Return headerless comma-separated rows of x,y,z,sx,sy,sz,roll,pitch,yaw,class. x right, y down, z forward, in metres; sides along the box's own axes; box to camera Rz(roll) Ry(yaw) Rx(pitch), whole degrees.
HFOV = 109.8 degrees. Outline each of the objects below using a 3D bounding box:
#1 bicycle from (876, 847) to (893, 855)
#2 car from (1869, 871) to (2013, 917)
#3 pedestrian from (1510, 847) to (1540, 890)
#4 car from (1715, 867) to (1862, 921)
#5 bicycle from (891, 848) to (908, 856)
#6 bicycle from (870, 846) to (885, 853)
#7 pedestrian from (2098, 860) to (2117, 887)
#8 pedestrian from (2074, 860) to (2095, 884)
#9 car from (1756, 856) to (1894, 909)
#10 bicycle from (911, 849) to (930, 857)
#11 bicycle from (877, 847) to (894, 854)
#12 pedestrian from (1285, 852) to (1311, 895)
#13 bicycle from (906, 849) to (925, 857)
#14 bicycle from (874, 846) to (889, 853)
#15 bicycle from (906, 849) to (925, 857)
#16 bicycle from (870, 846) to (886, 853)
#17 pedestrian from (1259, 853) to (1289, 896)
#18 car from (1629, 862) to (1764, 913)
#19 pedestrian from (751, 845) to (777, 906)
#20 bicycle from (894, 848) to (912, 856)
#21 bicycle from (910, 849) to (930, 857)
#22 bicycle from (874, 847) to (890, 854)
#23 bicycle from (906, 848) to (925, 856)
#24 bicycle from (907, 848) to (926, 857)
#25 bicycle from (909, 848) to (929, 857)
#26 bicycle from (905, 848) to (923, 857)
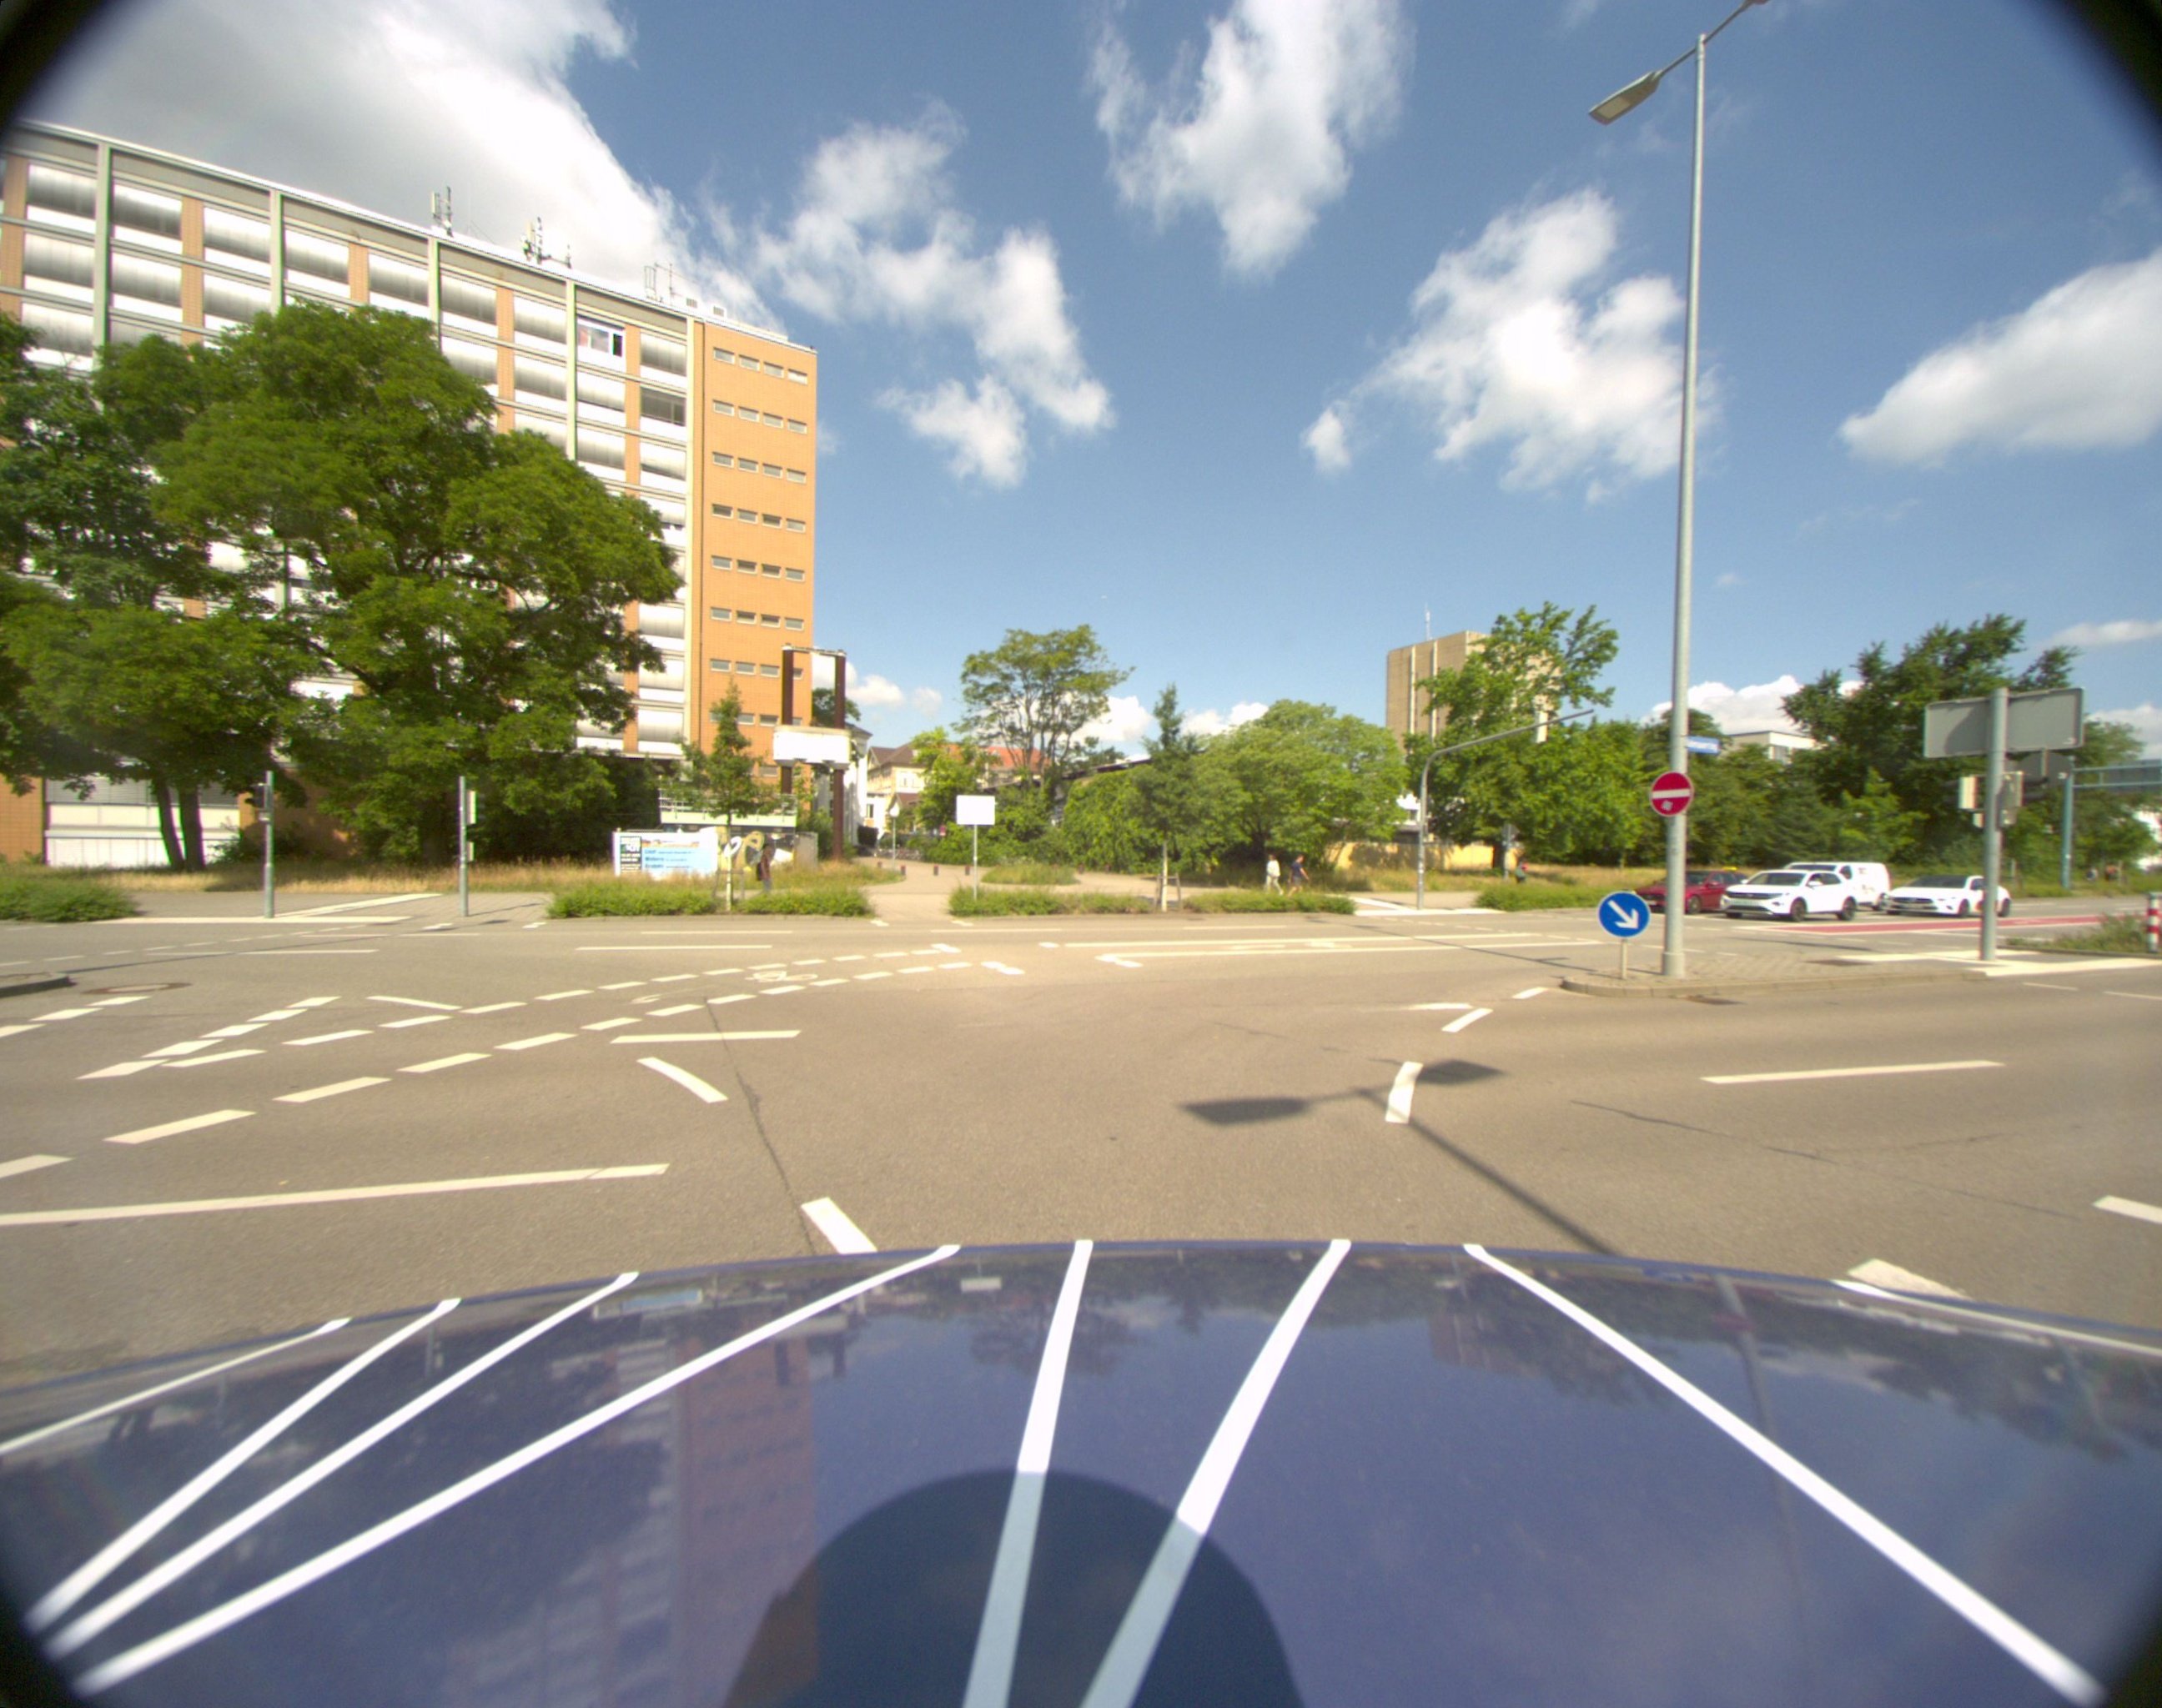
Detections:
-19.522,-0.299,75.529,1.561,0.716,0.508,0,1,-20,bicycle
29.744,1.345,26.281,4.390,1.415,1.906,1,1,-22,car
17.916,0.582,30.688,0.679,1.725,0.743,0,1,-19,pedestrian
21.755,1.184,23.368,4.016,1.530,1.793,1,-1,-22,car
-16.983,-0.188,71.109,1.561,0.716,0.508,0,1,-20,bicycle
-21.757,-0.459,81.309,1.561,0.716,0.508,0,1,-20,bicycle
67.707,1.291,50.118,0.639,1.791,0.567,1,1,-23,pedestrian
67.139,1.218,50.841,0.709,1.572,0.623,1,1,-23,pedestrian
28.434,1.057,29.041,4.831,1.859,1.944,1,1,-22,car
-13.642,-0.082,64.507,1.561,0.716,0.508,0,1,-20,bicycle
-19.635,-0.334,76.238,1.561,0.716,0.508,0,1,-20,bicycle
7.632,0.677,26.743,0.552,1.499,0.771,1,1,-17,pedestrian
-14.743,-0.105,67.757,1.561,0.716,0.508,0,1,-20,bicycle
-21.161,-0.440,80.591,1.561,0.716,0.508,0,1,-20,bicycle
-14.640,-0.115,67.141,1.561,0.716,0.508,0,1,-20,bicycle
-21.274,-0.439,79.671,1.561,0.716,0.508,0,1,-20,bicycle
7.482,0.791,29.435,0.721,1.629,0.869,0,1,-21,pedestrian
21.406,1.145,26.405,4.468,1.631,1.683,1,0,-22,car
-9.069,0.608,21.769,0.578,1.723,0.661,1,1,-15,pedestrian
-16.451,-0.147,70.147,1.561,0.716,0.508,0,1,-20,bicycle
-13.536,-0.080,63.938,1.561,0.716,0.508,0,1,-20,bicycle
-20.624,-0.408,78.720,1.561,0.716,0.508,0,1,-20,bicycle
-14.494,-0.157,66.510,1.561,0.716,0.508,0,1,-20,bicycle
-14.240,-0.132,65.795,1.561,0.716,0.508,0,1,-20,bicycle
-13.366,-0.117,62.791,1.561,0.716,0.508,0,1,-20,bicycle
-15.032,-0.131,68.498,1.561,0.716,0.508,0,1,-20,bicycle
